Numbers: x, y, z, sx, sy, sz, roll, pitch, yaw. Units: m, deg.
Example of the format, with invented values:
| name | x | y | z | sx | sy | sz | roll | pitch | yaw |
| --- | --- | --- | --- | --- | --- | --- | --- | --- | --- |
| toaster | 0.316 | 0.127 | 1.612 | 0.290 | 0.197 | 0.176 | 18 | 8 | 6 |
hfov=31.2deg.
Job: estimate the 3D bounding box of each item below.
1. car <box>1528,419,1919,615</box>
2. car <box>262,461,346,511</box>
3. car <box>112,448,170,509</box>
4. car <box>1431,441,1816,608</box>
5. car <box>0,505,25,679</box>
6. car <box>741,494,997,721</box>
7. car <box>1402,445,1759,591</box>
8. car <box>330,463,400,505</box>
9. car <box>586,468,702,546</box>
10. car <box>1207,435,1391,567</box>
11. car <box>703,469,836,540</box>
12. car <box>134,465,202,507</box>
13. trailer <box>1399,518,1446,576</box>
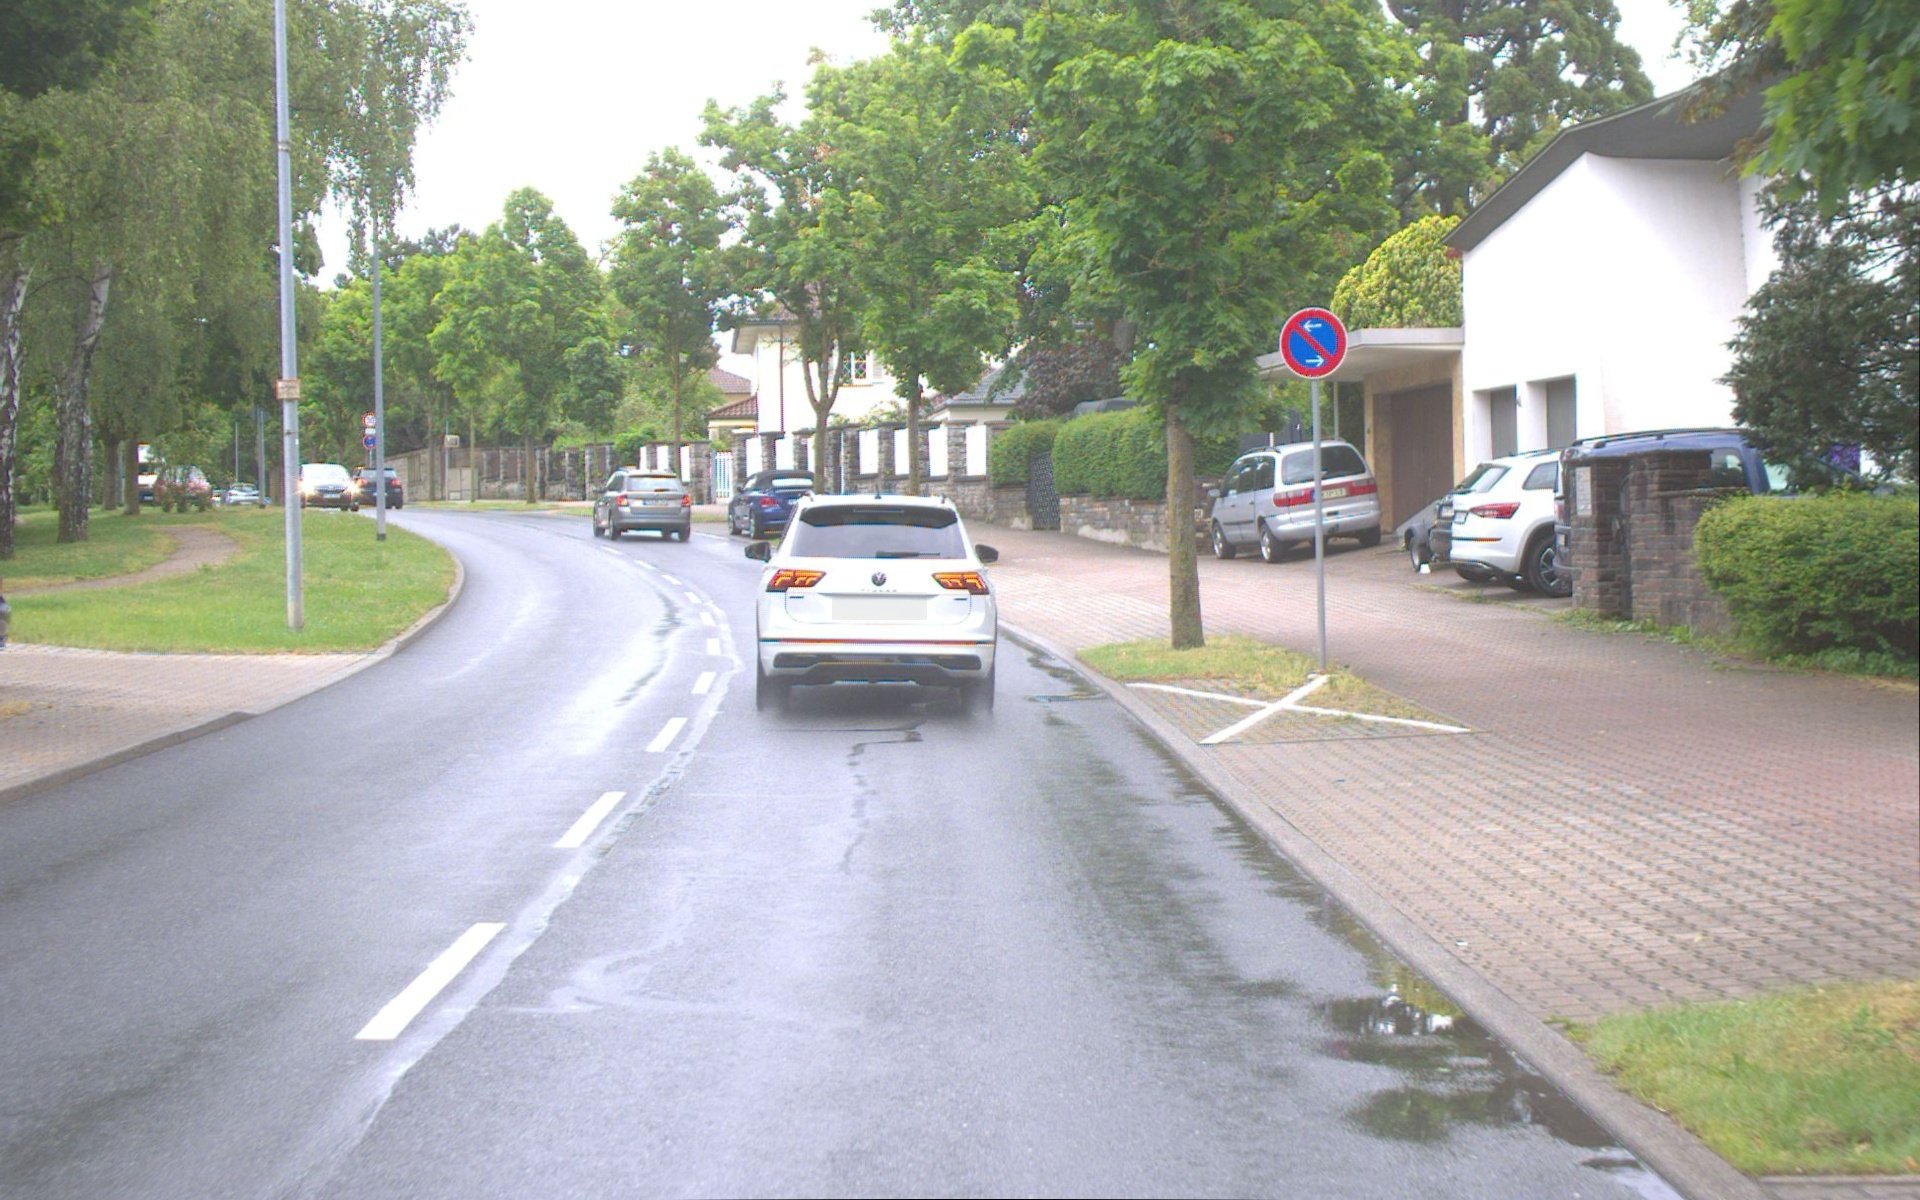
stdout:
| name | x | y | z | sx | sy | sz | roll | pitch | yaw |
| --- | --- | --- | --- | --- | --- | --- | --- | --- | --- |
| car | 8.386 | -0.922 | 37.343 | 3.986 | 2.006 | 1.830 | 1 | 3 | -5 |
| car | -19.661 | -3.418 | 102.908 | 1.766 | 1.422 | 4.001 | 0 | 2 | -21 |
| car | -32.999 | -4.900 | 138.456 | 1.766 | 2.378 | 4.001 | 0 | 2 | -21 |
| car | 7.634 | -0.892 | 39.782 | 3.986 | 1.805 | 1.830 | 1 | 3 | -5 |
| car | -9.599 | -0.089 | 26.616 | 4.219 | 1.358 | 1.690 | 1 | 1 | 3 |
| car | -0.706 | 0.005 | 27.239 | 1.865 | 1.645 | 4.000 | -1 | 1 | -1 |
| car | 7.689 | -1.039 | 42.834 | 3.986 | 1.702 | 1.830 | 1 | 3 | -5 |
| car | -20.687 | -4.052 | 119.506 | 1.642 | 1.422 | 4.001 | 0 | 2 | -21 |
| car | -6.693 | -1.949 | 72.479 | 1.768 | 1.546 | 4.001 | -1 | 0 | -15 |
| car | 5.213 | -1.578 | 53.405 | 1.823 | 1.698 | 4.001 | -9 | 4 | -6 |
| car | -4.023 | -2.022 | 71.986 | 1.642 | 1.422 | 4.001 | 0 | 2 | -20 |
| car | -27.736 | -3.998 | 120.355 | 1.766 | 1.422 | 4.001 | 0 | 2 | -21 |
| trailer | 6.126 | -0.700 | 45.589 | 0.418 | 0.754 | 1.367 | 1 | 1 | 0 |
